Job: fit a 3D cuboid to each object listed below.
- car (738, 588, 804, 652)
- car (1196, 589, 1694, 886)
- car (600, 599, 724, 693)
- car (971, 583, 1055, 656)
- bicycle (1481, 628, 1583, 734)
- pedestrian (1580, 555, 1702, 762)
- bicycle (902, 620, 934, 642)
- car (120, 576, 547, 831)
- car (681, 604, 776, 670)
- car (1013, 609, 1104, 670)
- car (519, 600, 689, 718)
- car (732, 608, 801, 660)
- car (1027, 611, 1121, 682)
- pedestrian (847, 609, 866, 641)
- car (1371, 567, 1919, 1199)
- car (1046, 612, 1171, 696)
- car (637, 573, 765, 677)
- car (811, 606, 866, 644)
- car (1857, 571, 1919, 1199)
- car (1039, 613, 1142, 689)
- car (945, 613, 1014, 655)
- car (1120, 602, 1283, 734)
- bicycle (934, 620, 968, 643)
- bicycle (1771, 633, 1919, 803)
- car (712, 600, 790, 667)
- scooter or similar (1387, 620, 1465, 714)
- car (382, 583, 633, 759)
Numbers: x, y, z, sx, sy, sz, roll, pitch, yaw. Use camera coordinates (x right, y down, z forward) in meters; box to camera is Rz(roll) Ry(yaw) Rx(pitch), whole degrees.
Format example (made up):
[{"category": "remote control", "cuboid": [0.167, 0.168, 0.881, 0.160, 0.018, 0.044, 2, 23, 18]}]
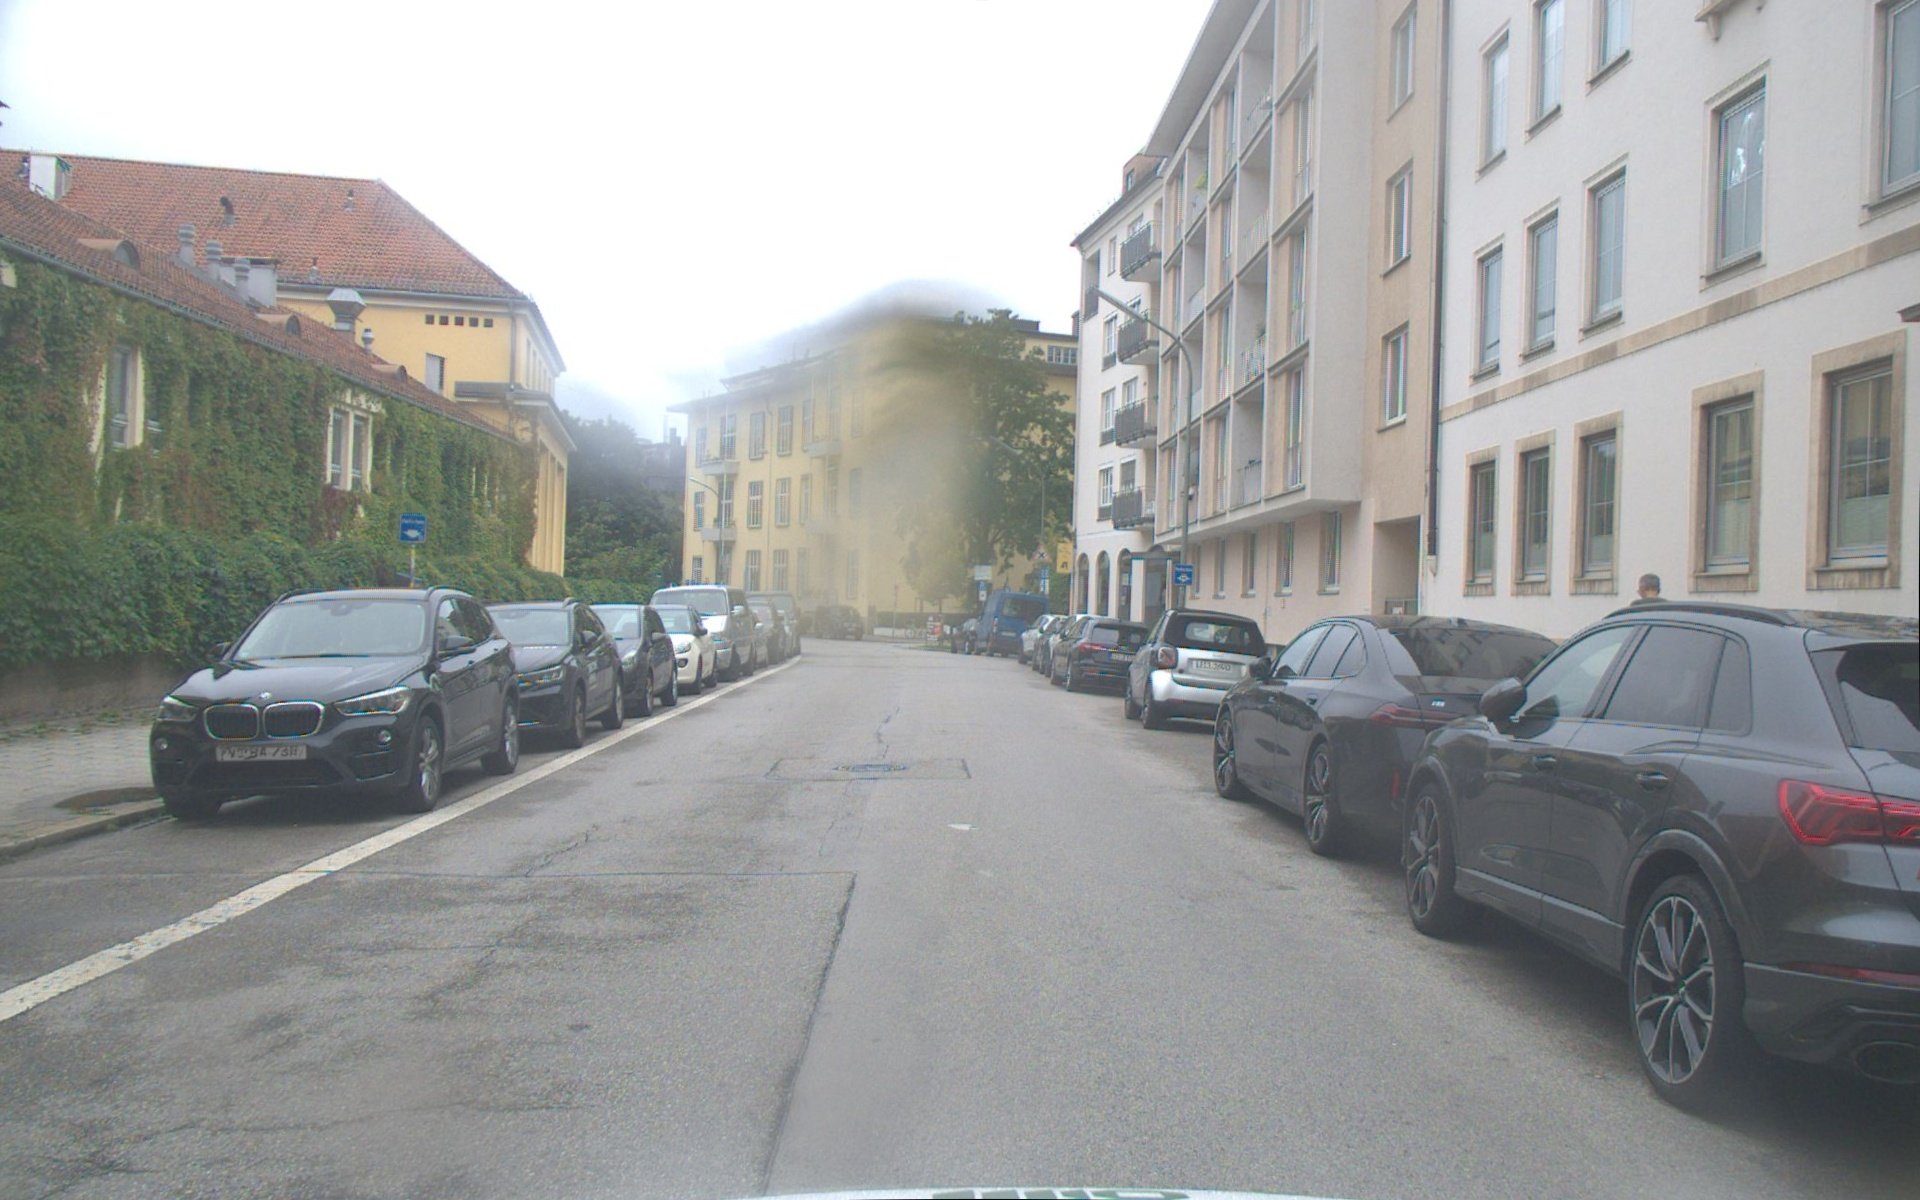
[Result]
[{"category": "car", "cuboid": [-6.236, 0.647, 54.591, 2.033, 1.998, 5.341, 0, -1, -7]}, {"category": "car", "cuboid": [3.084, 0.780, 11.851, 1.766, 1.510, 5.317, 5, 0, -2]}, {"category": "car", "cuboid": [-5.023, 0.744, 28.304, 1.559, 1.466, 4.016, -1, 0, -3]}, {"category": "car", "cuboid": [1.844, 0.764, 59.922, 2.040, 2.272, 5.235, 6, -3, -7]}, {"category": "bicycle", "cuboid": [7.235, 0.993, 21.003, 0.519, 1.239, 2.102, 2, -1, 0]}, {"category": "pedestrian", "cuboid": [6.160, 0.532, 14.988, 0.708, 1.794, 0.904, 2, -3, 0]}, {"category": "bicycle", "cuboid": [-2.465, 1.832, 97.293, 1.889, 1.222, 0.593, 2, -1, 36]}, {"category": "car", "cuboid": [-4.657, 0.680, 13.128, 1.753, 1.614, 4.815, -1, 0, -3]}, {"category": "car", "cuboid": [-5.437, 0.839, 39.294, 1.619, 1.439, 4.769, -1, 0, -1]}, {"category": "car", "cuboid": [2.824, 1.109, 48.253, 1.751, 1.560, 4.641, 5, -1, -7]}, {"category": "car", "cuboid": [-4.855, 0.766, 23.054, 1.571, 1.455, 4.249, -1, 0, -2]}, {"category": "car", "cuboid": [-5.732, 0.983, 49.351, 1.660, 1.417, 4.498, -3, 0, -3]}, {"category": "car", "cuboid": [2.882, 1.146, 42.922, 1.842, 1.548, 5.162, 5, 0, -1]}, {"category": "pedestrian", "cuboid": [-6.030, 1.458, 96.455, 0.862, 1.855, 0.793, 2, -1, -22]}, {"category": "car", "cuboid": [3.091, 0.804, 6.545, 1.612, 1.617, 4.633, 5, -1, -1]}, {"category": "car", "cuboid": [2.863, 1.018, 32.927, 1.711, 1.412, 4.950, 4, -1, -3]}, {"category": "car", "cuboid": [-5.193, 0.495, 33.759, 1.848, 1.923, 4.773, -1, -1, 0]}, {"category": "car", "cuboid": [-7.075, 1.444, 96.217, 1.739, 1.906, 4.348, 6, -2, -23]}, {"category": "car", "cuboid": [3.140, 0.737, 1.729, 1.802, 1.548, 4.708, 3, 0, 0]}, {"category": "car", "cuboid": [2.928, 1.108, 37.890, 1.661, 1.515, 4.577, 4, -1, -3]}, {"category": "car", "cuboid": [0.737, 1.334, 66.030, 1.648, 1.413, 4.291, 6, -2, -13]}, {"category": "car", "cuboid": [3.169, 0.862, 22.159, 1.617, 1.521, 2.880, 5, -1, -1]}, {"category": "bicycle", "cuboid": [-0.512, 1.820, 96.145, 1.881, 1.222, 0.596, 2, -1, 12]}, {"category": "bicycle", "cuboid": [7.404, 0.918, 13.337, 0.503, 1.243, 1.985, 2, 0, -8]}, {"category": "car", "cuboid": [-5.519, 0.868, 44.051, 1.663, 1.672, 4.488, -1, 0, -2]}, {"category": "scooter or similar", "cuboid": [7.141, 1.026, 25.398, 0.432, 1.382, 1.585, 2, -3, -12]}, {"category": "car", "cuboid": [-4.746, 0.689, 17.983, 1.690, 1.658, 4.463, -1, 0, -3]}]
